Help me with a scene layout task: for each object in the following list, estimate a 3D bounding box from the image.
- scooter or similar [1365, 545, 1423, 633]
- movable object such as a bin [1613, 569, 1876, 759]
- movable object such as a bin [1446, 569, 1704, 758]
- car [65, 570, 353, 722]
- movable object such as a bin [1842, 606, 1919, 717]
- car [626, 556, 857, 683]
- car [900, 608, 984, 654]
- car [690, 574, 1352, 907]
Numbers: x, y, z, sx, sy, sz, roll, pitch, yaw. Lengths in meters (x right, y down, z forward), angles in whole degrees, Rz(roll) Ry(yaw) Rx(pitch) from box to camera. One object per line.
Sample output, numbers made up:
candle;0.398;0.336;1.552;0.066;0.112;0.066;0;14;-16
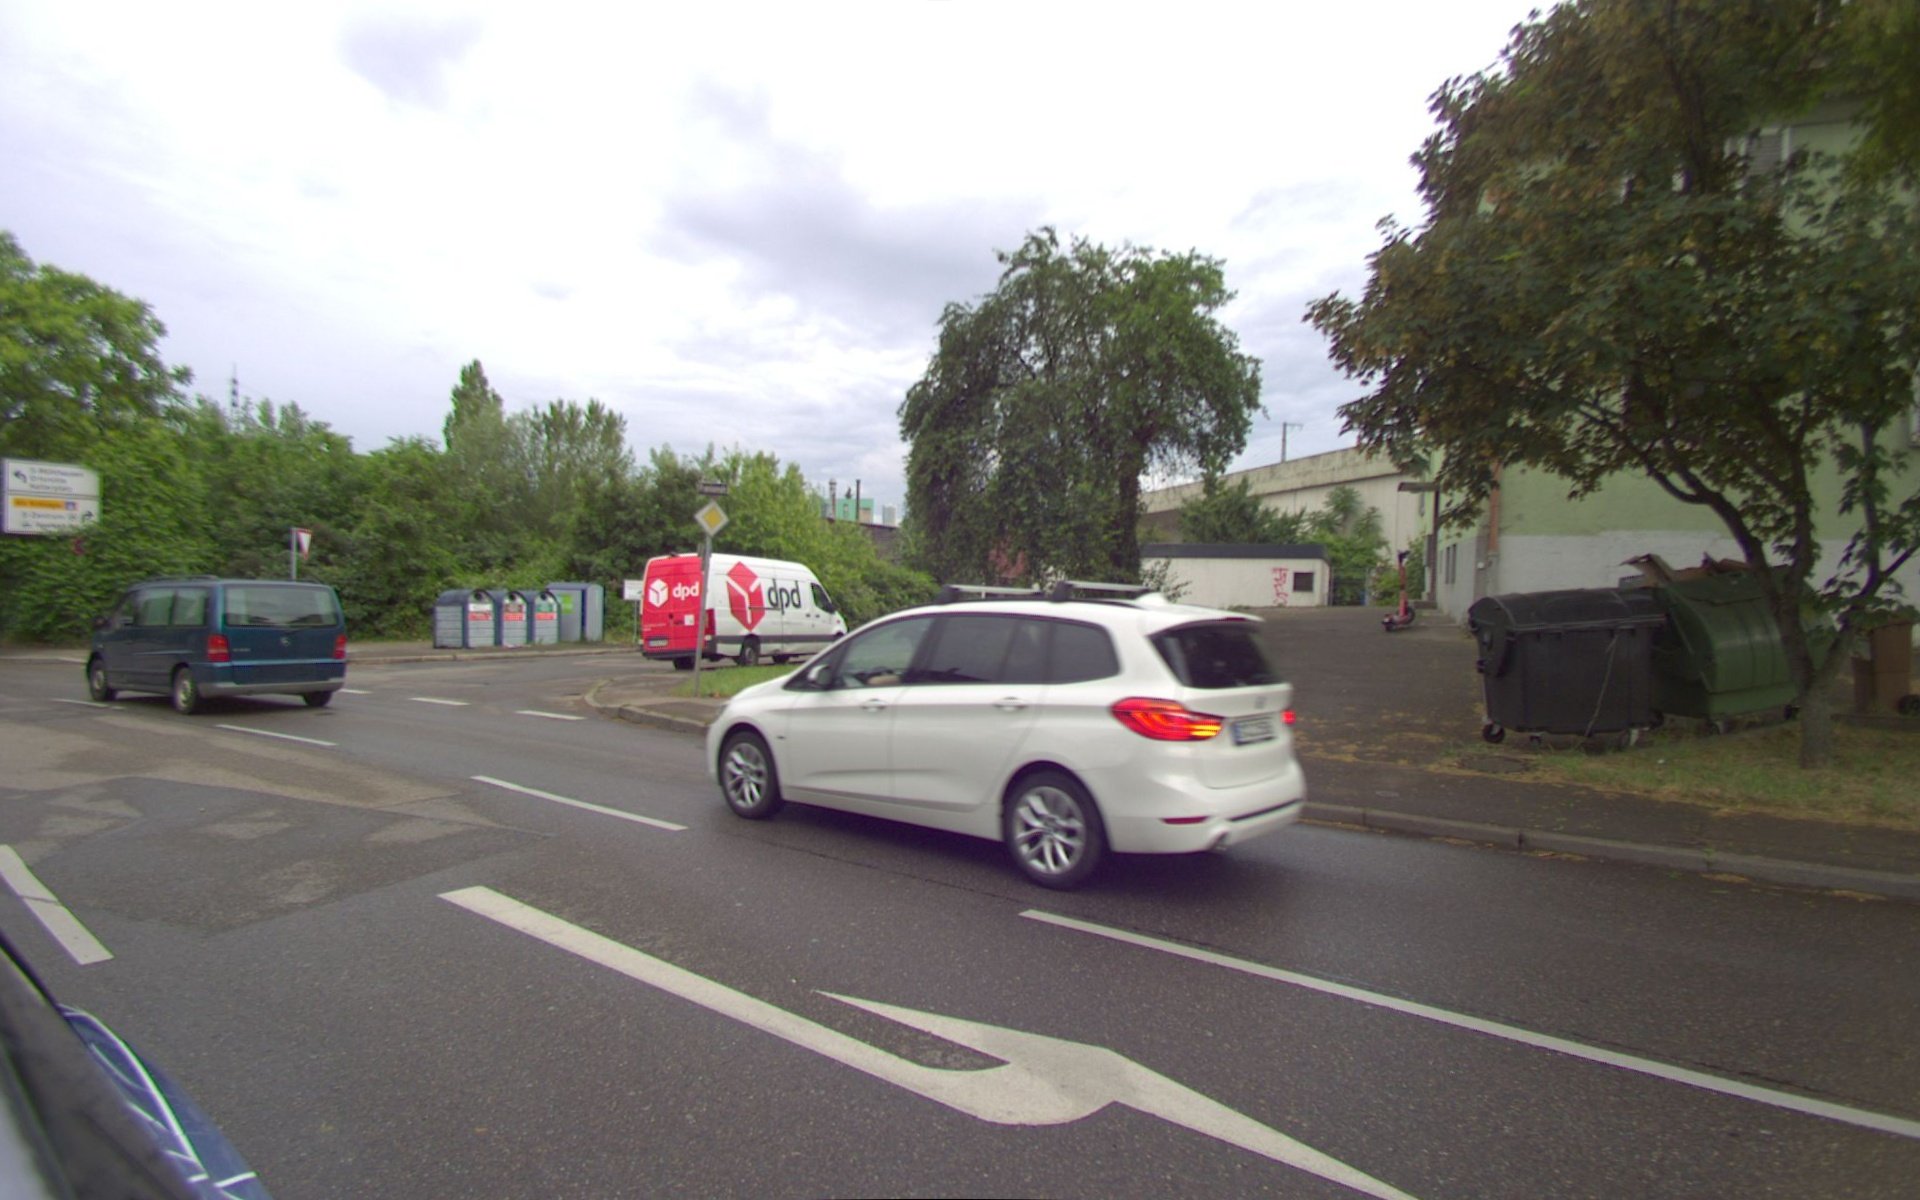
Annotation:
scooter or similar;6.882;-0.201;16.010;0.529;1.283;1.507;0;4;36
movable object such as a bin;6.988;0.520;9.091;1.440;1.448;1.102;-5;3;-5
movable object such as a bin;5.534;0.514;9.217;1.440;1.448;1.296;-5;3;-5
car;-11.262;0.604;15.095;4.669;1.946;1.942;0;-1;33
movable object such as a bin;8.491;0.540;9.189;0.723;0.964;0.551;1;0;42
car;-5.059;0.400;24.911;2.247;2.675;6.776;0;0;21
car;-0.620;1.152;39.347;1.984;1.642;4.227;1;0;18
car;0.176;0.725;6.970;4.331;1.590;1.812;-2;-1;41
